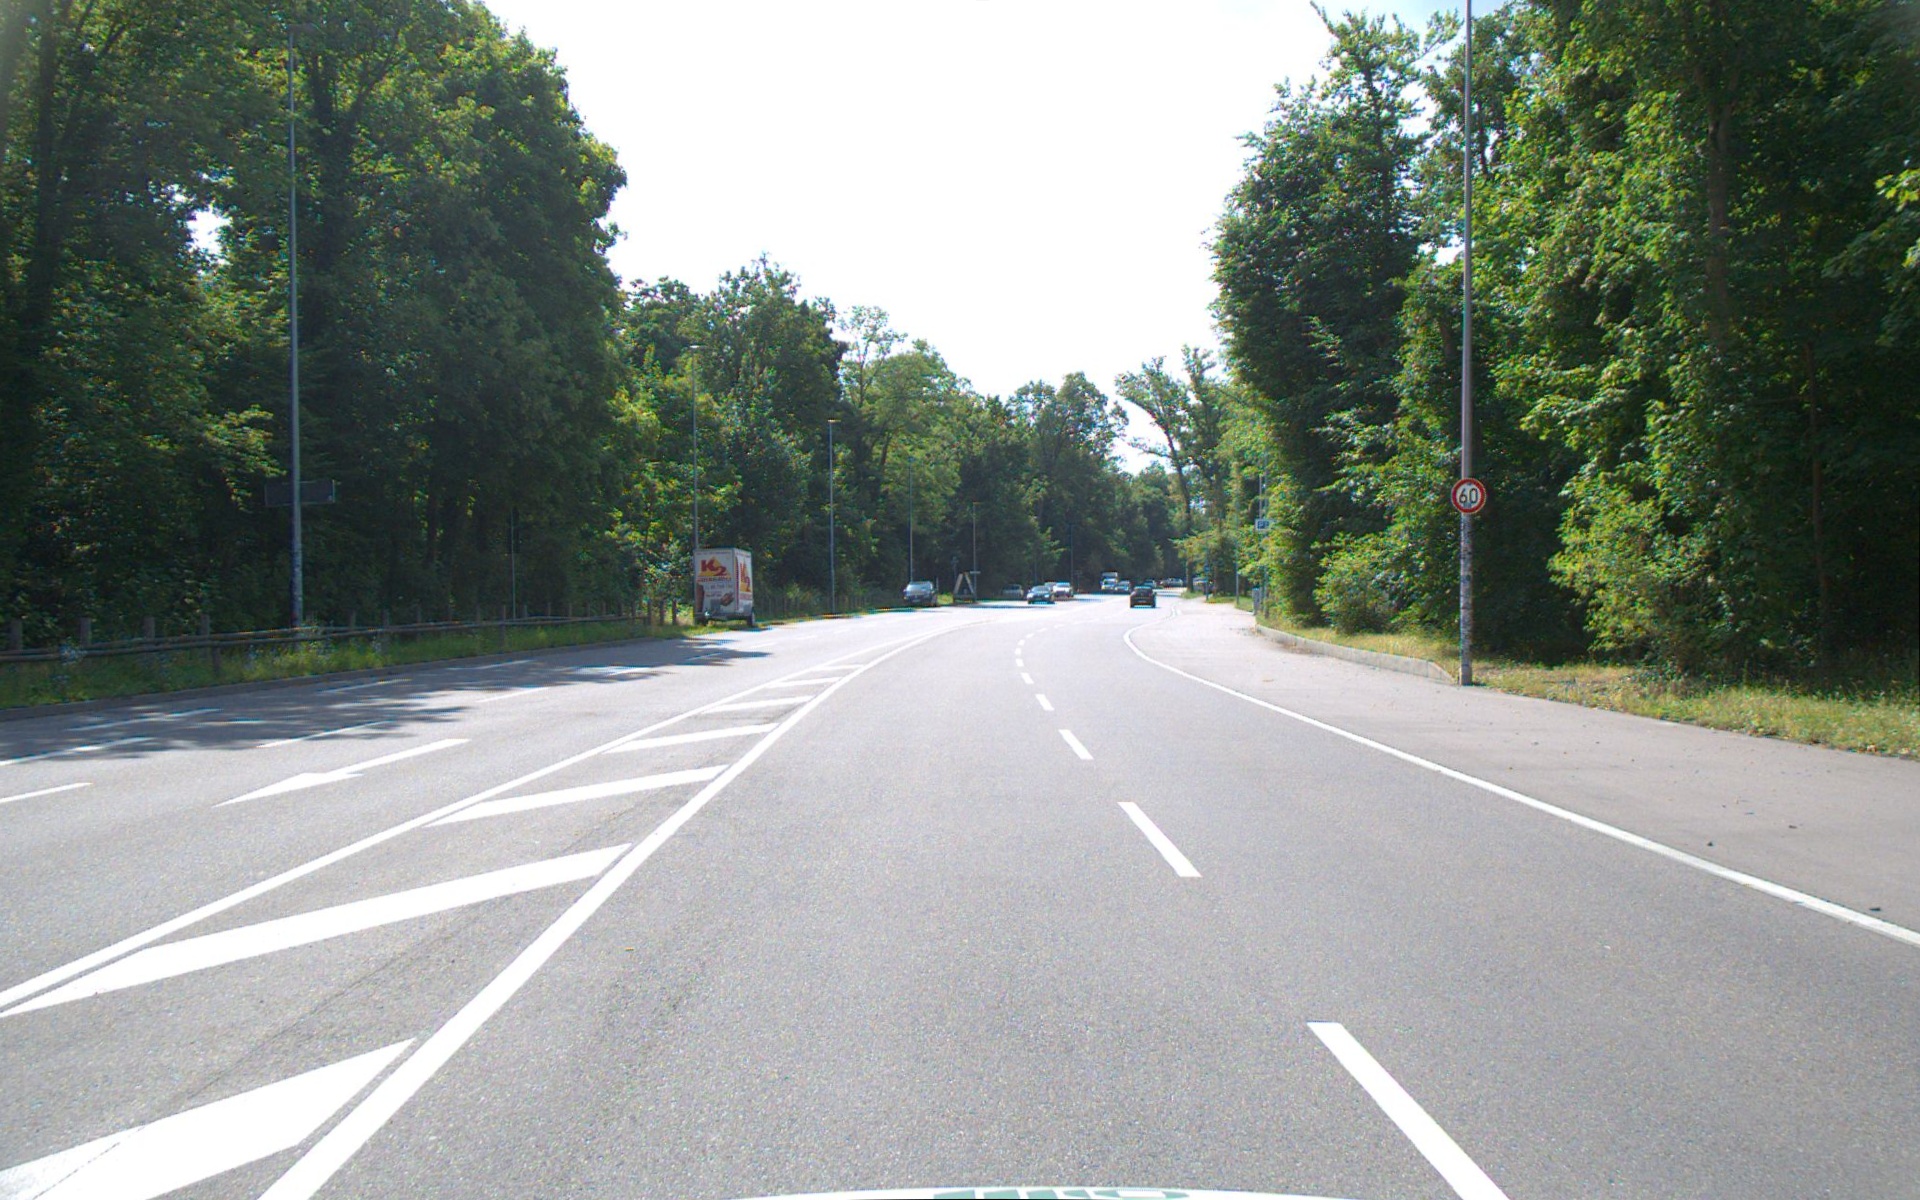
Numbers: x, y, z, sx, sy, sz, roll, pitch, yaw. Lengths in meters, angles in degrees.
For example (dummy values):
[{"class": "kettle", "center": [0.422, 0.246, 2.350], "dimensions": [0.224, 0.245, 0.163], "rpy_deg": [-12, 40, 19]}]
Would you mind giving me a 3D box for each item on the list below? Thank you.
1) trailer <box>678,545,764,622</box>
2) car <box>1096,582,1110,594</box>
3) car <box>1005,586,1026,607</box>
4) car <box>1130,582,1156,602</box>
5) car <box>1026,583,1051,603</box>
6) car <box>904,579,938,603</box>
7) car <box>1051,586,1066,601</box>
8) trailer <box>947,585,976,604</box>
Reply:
[{"class": "trailer", "center": [-7.798, -0.539, 54.312], "dimensions": [1.951, 2.430, 4.002], "rpy_deg": [0, 0, 4]}, {"class": "car", "center": [17.900, -1.485, 206.521], "dimensions": [1.471, 1.472, 3.532], "rpy_deg": [0, 0, 9]}, {"class": "car", "center": [5.155, -0.333, 153.495], "dimensions": [1.882, 1.887, 4.001], "rpy_deg": [0, 0, 2]}, {"class": "car", "center": [12.790, -0.575, 115.323], "dimensions": [1.563, 1.402, 3.979], "rpy_deg": [0, 0, 9]}, {"class": "car", "center": [6.038, -0.547, 126.762], "dimensions": [1.471, 1.472, 3.532], "rpy_deg": [0, 0, 10]}, {"class": "car", "center": [-2.423, -0.544, 102.813], "dimensions": [1.471, 1.472, 3.532], "rpy_deg": [0, 0, 10]}, {"class": "car", "center": [9.925, -0.645, 166.618], "dimensions": [1.472, 1.472, 3.531], "rpy_deg": [0, 0, 3]}, {"class": "trailer", "center": [0.151, -0.436, 125.335], "dimensions": [1.680, 1.378, 3.735], "rpy_deg": [0, 0, 9]}]
